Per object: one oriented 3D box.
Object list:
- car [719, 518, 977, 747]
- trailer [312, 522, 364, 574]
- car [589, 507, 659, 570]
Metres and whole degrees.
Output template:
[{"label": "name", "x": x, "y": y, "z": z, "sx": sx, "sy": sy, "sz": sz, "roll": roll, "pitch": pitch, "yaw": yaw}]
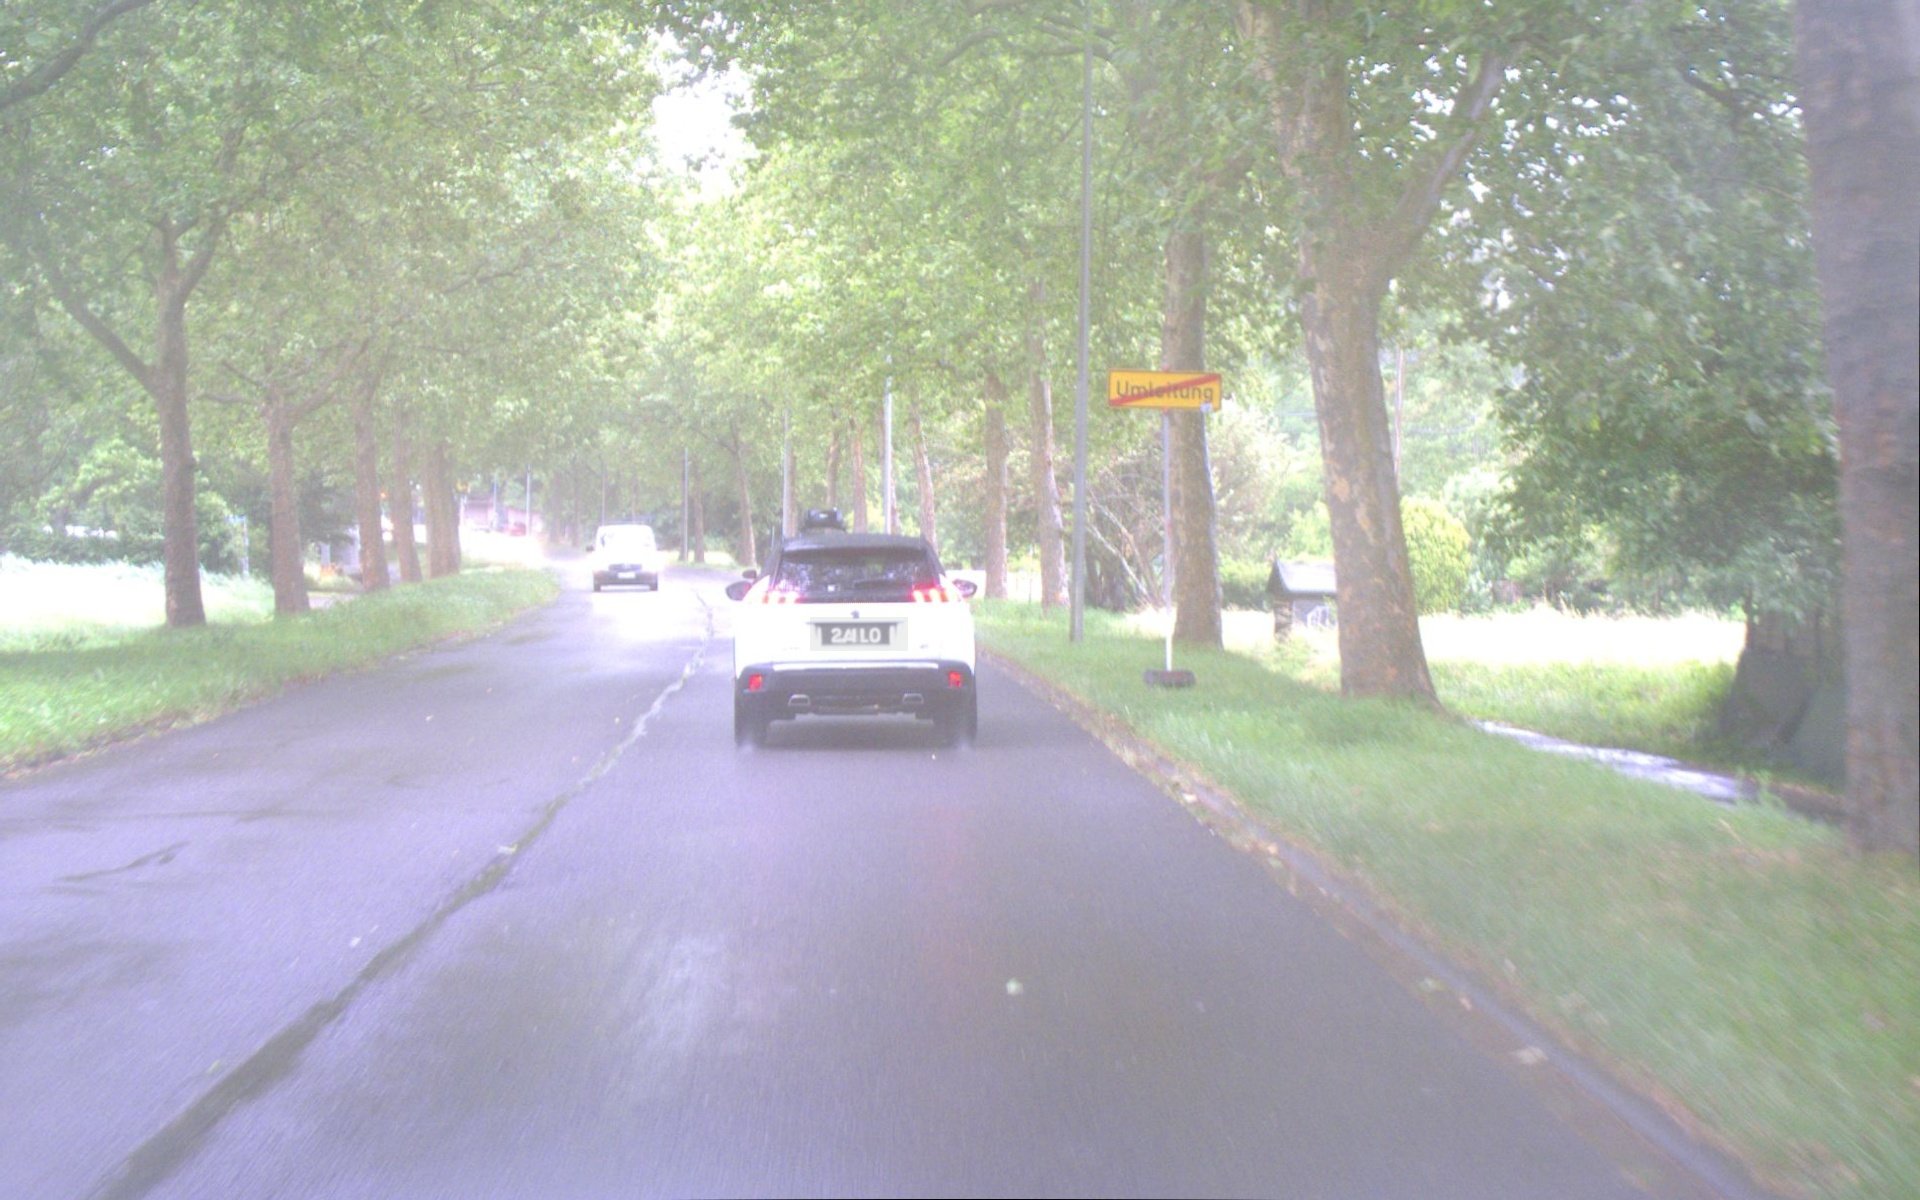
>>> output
[{"label": "car", "x": -0.786, "y": 0.183, "z": 26.032, "sx": 1.794, "sy": 1.573, "sz": 3.844, "roll": 1, "pitch": 2, "yaw": 0}, {"label": "trailer", "x": -31.869, "y": -2.678, "z": 176.255, "sx": 2.484, "sy": 2.558, "sz": 5.334, "roll": 1, "pitch": 1, "yaw": -9}, {"label": "car", "x": -9.775, "y": -1.799, "z": 100.290, "sx": 1.862, "sy": 1.744, "sz": 5.016, "roll": 1, "pitch": 1, "yaw": -4}]
